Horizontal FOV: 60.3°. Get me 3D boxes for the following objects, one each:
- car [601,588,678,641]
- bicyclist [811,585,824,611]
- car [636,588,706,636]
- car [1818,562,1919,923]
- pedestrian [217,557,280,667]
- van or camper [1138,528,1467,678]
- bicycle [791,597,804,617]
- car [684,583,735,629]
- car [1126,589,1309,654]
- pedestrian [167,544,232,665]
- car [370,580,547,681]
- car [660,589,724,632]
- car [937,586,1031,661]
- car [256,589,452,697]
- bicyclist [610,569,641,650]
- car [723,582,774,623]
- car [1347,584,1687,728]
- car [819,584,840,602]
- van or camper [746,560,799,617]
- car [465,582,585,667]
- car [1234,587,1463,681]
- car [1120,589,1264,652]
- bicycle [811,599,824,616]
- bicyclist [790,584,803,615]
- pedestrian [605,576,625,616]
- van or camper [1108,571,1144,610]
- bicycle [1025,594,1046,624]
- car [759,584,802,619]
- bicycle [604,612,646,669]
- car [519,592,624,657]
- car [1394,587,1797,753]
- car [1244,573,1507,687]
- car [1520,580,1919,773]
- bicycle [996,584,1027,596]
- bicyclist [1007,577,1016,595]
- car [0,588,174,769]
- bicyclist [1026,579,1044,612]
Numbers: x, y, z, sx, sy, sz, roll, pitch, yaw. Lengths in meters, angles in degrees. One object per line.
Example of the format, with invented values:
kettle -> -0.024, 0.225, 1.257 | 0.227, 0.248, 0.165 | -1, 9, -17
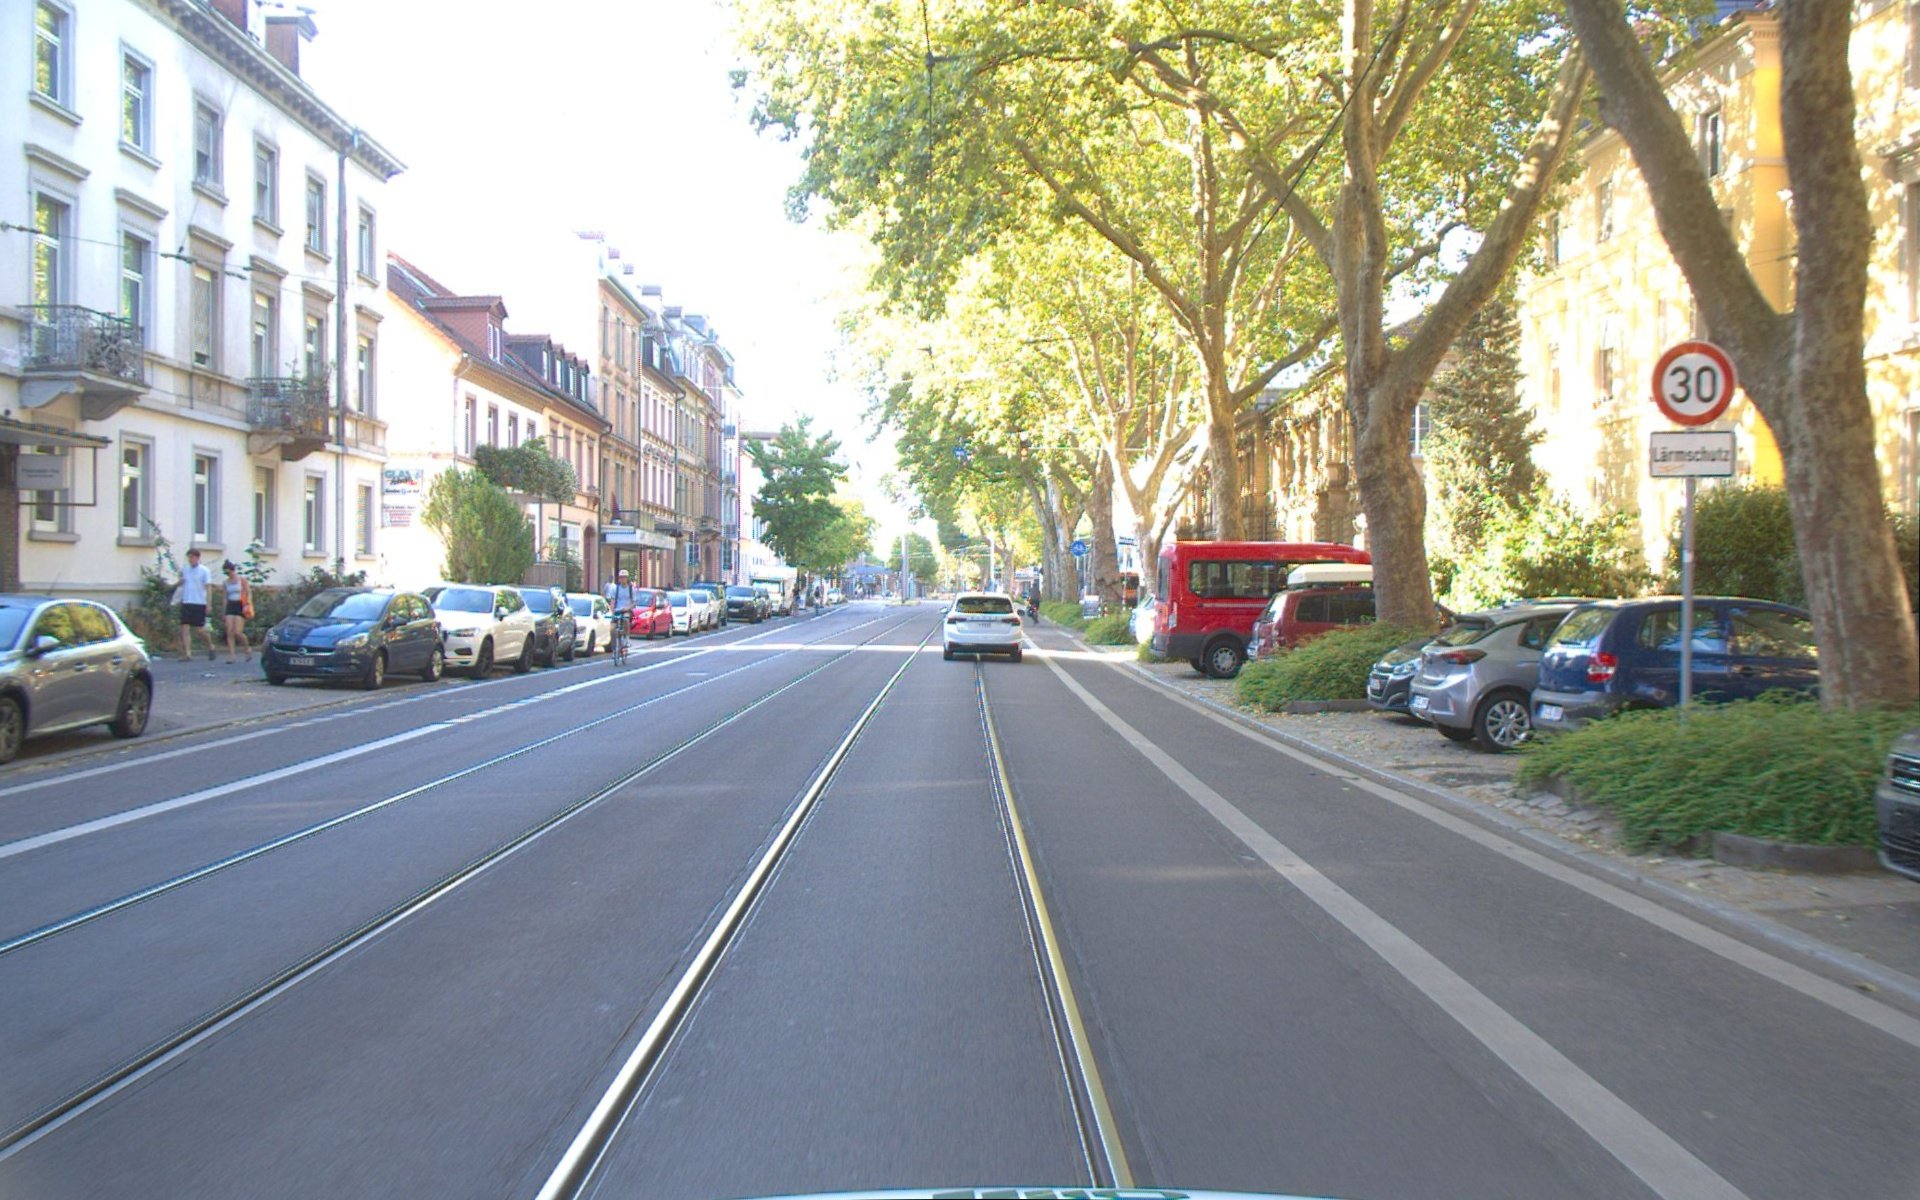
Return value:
car -> -9.977, 0.437, 51.673 | 1.536, 1.590, 3.450 | 0, 0, 3
bicyclist -> -8.309, -0.107, 96.369 | 0.625, 1.529, 1.070 | -1, 0, 0
car -> -9.950, 0.380, 57.283 | 1.790, 1.529, 4.686 | 1, 0, -3
car -> 6.726, 0.610, 8.004 | 4.177, 1.749, 1.848 | -2, 0, -3
pedestrian -> -12.179, 0.197, 28.342 | 0.744, 1.853, 0.829 | 0, 0, -4
van or camper -> 6.441, 0.020, 31.559 | 5.699, 2.563, 2.287 | -2, 1, -3
bicycle -> -8.999, 0.366, 91.568 | 0.474, 1.065, 2.040 | -2, 0, 1
car -> -10.094, 0.214, 66.860 | 1.524, 1.762, 3.684 | 1, 0, -2
car -> 6.259, 0.510, 40.520 | 4.197, 1.442, 1.760 | -1, 1, 1
pedestrian -> -13.065, 0.080, 28.434 | 0.744, 2.049, 0.829 | 0, 0, -3
car -> -9.188, 0.503, 30.751 | 1.818, 1.733, 4.763 | 0, 0, 0
car -> -10.079, 0.354, 62.520 | 1.790, 1.529, 4.448 | 1, 0, -2
car -> 0.473, 0.478, 36.078 | 1.805, 1.506, 3.836 | 1, 0, -3
car -> -9.344, 0.605, 25.823 | 1.522, 1.542, 3.925 | 0, 0, 2
bicyclist -> -6.933, 0.196, 34.305 | 0.463, 1.664, 0.800 | 0, 0, 0
car -> -10.048, 0.112, 78.917 | 1.925, 1.812, 4.935 | 3, 0, -2
car -> 6.802, 0.658, 20.454 | 3.596, 1.550, 1.693 | -2, 1, -1
car -> -12.644, -0.690, 160.310 | 1.758, 1.756, 3.783 | 1, 0, -2
van or camper -> -10.933, -0.668, 96.964 | 2.171, 3.195, 7.114 | 1, 0, 1
car -> -9.499, 0.483, 36.433 | 1.821, 1.733, 4.654 | 0, 0, -6
car -> 6.881, 0.572, 29.501 | 3.660, 1.556, 1.668 | -1, 1, -4
car -> 6.372, 0.541, 45.609 | 3.675, 1.534, 1.681 | 3, 0, -1
bicycle -> -8.315, 0.411, 96.646 | 0.488, 0.959, 1.922 | -2, 0, 1
bicyclist -> -9.068, -0.028, 91.676 | 0.524, 1.663, 0.896 | -2, 0, 1
pedestrian -> -14.782, -0.175, 70.921 | 0.759, 1.662, 0.654 | 1, 0, -17
van or camper -> 11.175, -0.620, 111.754 | 1.985, 2.507, 5.109 | 1, 0, 1
bicycle -> 3.100, 0.352, 67.726 | 0.666, 1.175, 2.964 | 1, 0, -1
car -> -9.706, 0.068, 89.751 | 1.925, 1.812, 4.469 | 1, 0, -2
bicycle -> -6.932, 0.824, 34.268 | 0.471, 1.105, 1.846 | 0, 0, 0
car -> -9.677, 0.580, 41.490 | 1.652, 1.502, 4.257 | 1, 0, -1
car -> 6.528, 0.686, 17.241 | 3.522, 1.544, 1.693 | -2, 0, -1
car -> 6.691, 0.485, 26.871 | 3.743, 1.678, 1.766 | -2, -1, -4
car -> 7.033, 0.652, 14.810 | 3.522, 1.627, 1.540 | 0, -1, -1
bicycle -> 4.703, -0.870, 150.186 | 2.711, 1.017, 0.593 | 1, 0, 14
bicyclist -> 4.640, -1.246, 150.217 | 0.721, 1.617, 0.587 | 0, 0, 12
car -> -9.215, 0.669, 15.769 | 1.629, 1.547, 4.062 | 1, 0, -3
bicyclist -> 3.077, -0.182, 67.707 | 0.665, 1.362, 0.525 | 1, 0, -1
